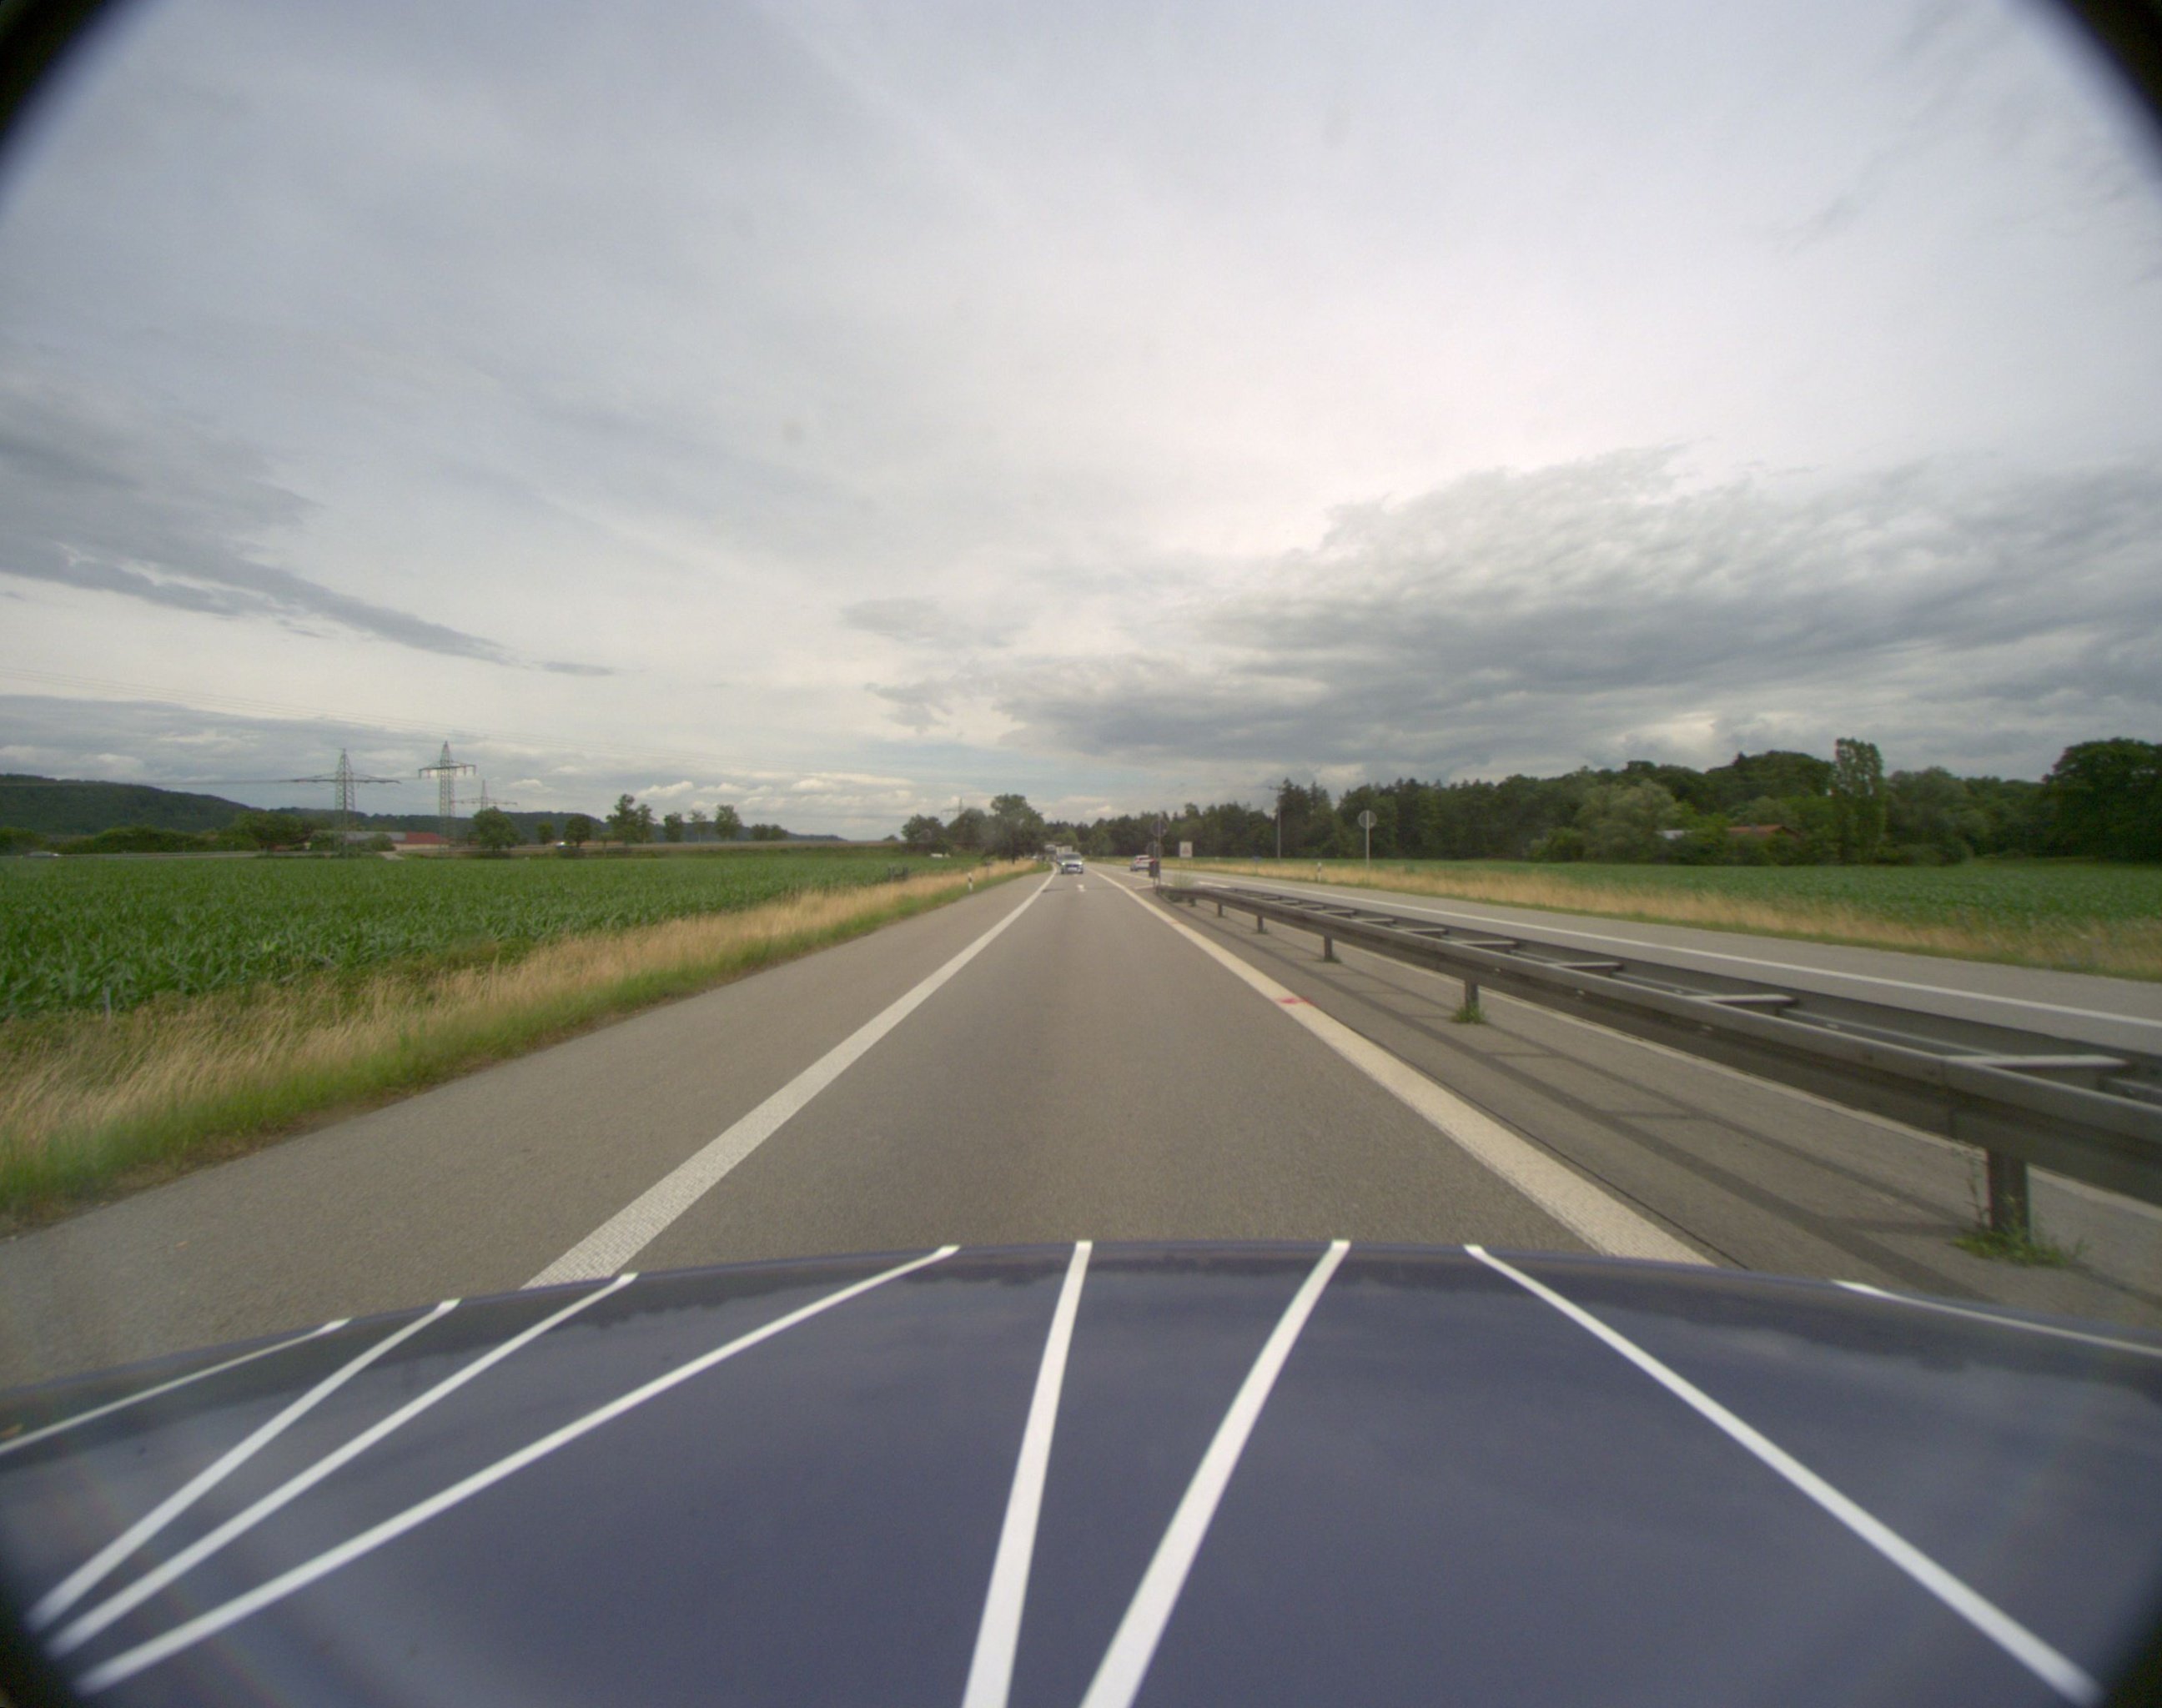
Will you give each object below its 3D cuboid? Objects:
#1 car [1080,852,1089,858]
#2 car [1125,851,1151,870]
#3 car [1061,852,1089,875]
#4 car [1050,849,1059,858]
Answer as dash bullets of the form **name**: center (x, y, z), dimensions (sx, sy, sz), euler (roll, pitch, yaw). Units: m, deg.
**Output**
- **car**: center (0.811, 0.191, 186.557), dimensions (1.862, 1.470, 5.196), euler (-2, 1, -2)
- **car**: center (5.264, 0.576, 71.154), dimensions (1.822, 1.623, 4.600), euler (-2, 1, -3)
- **car**: center (-0.571, 0.802, 67.013), dimensions (1.924, 1.823, 3.997), euler (-2, 1, -7)
- **car**: center (-6.531, -0.174, 188.210), dimensions (1.998, 2.002, 4.000), euler (-2, 1, 2)
